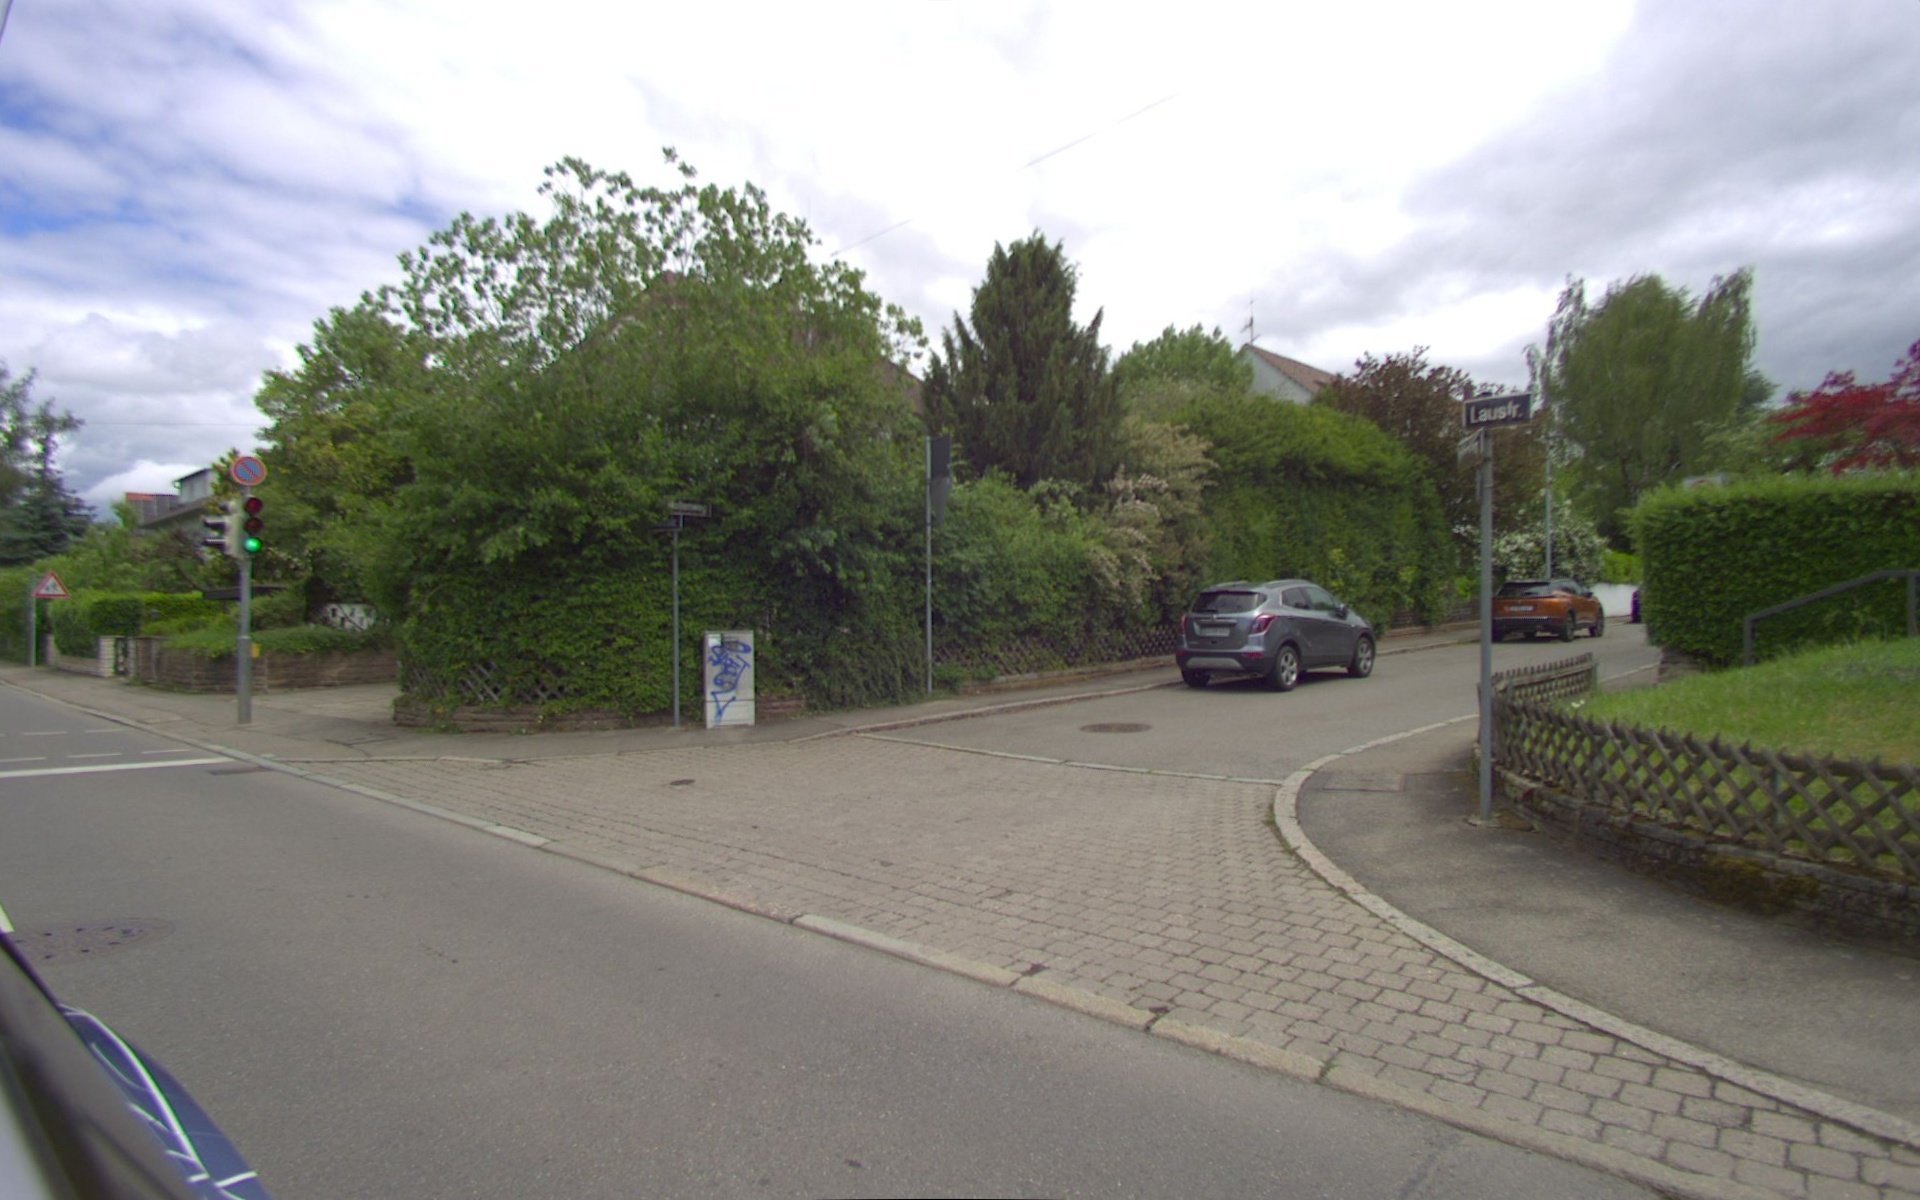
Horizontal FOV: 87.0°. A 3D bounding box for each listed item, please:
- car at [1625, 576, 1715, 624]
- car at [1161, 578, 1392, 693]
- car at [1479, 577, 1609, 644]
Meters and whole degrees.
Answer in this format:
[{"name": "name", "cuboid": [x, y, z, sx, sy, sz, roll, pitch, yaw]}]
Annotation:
[{"name": "car", "cuboid": [24.307, -0.025, 34.599, 3.940, 1.531, 1.745, -2, 0, -44]}, {"name": "car", "cuboid": [5.221, 0.496, 16.442, 3.940, 1.609, 1.879, -2, 0, -44]}, {"name": "car", "cuboid": [14.561, 0.223, 25.154, 3.940, 1.499, 1.745, -2, 0, -44]}]
